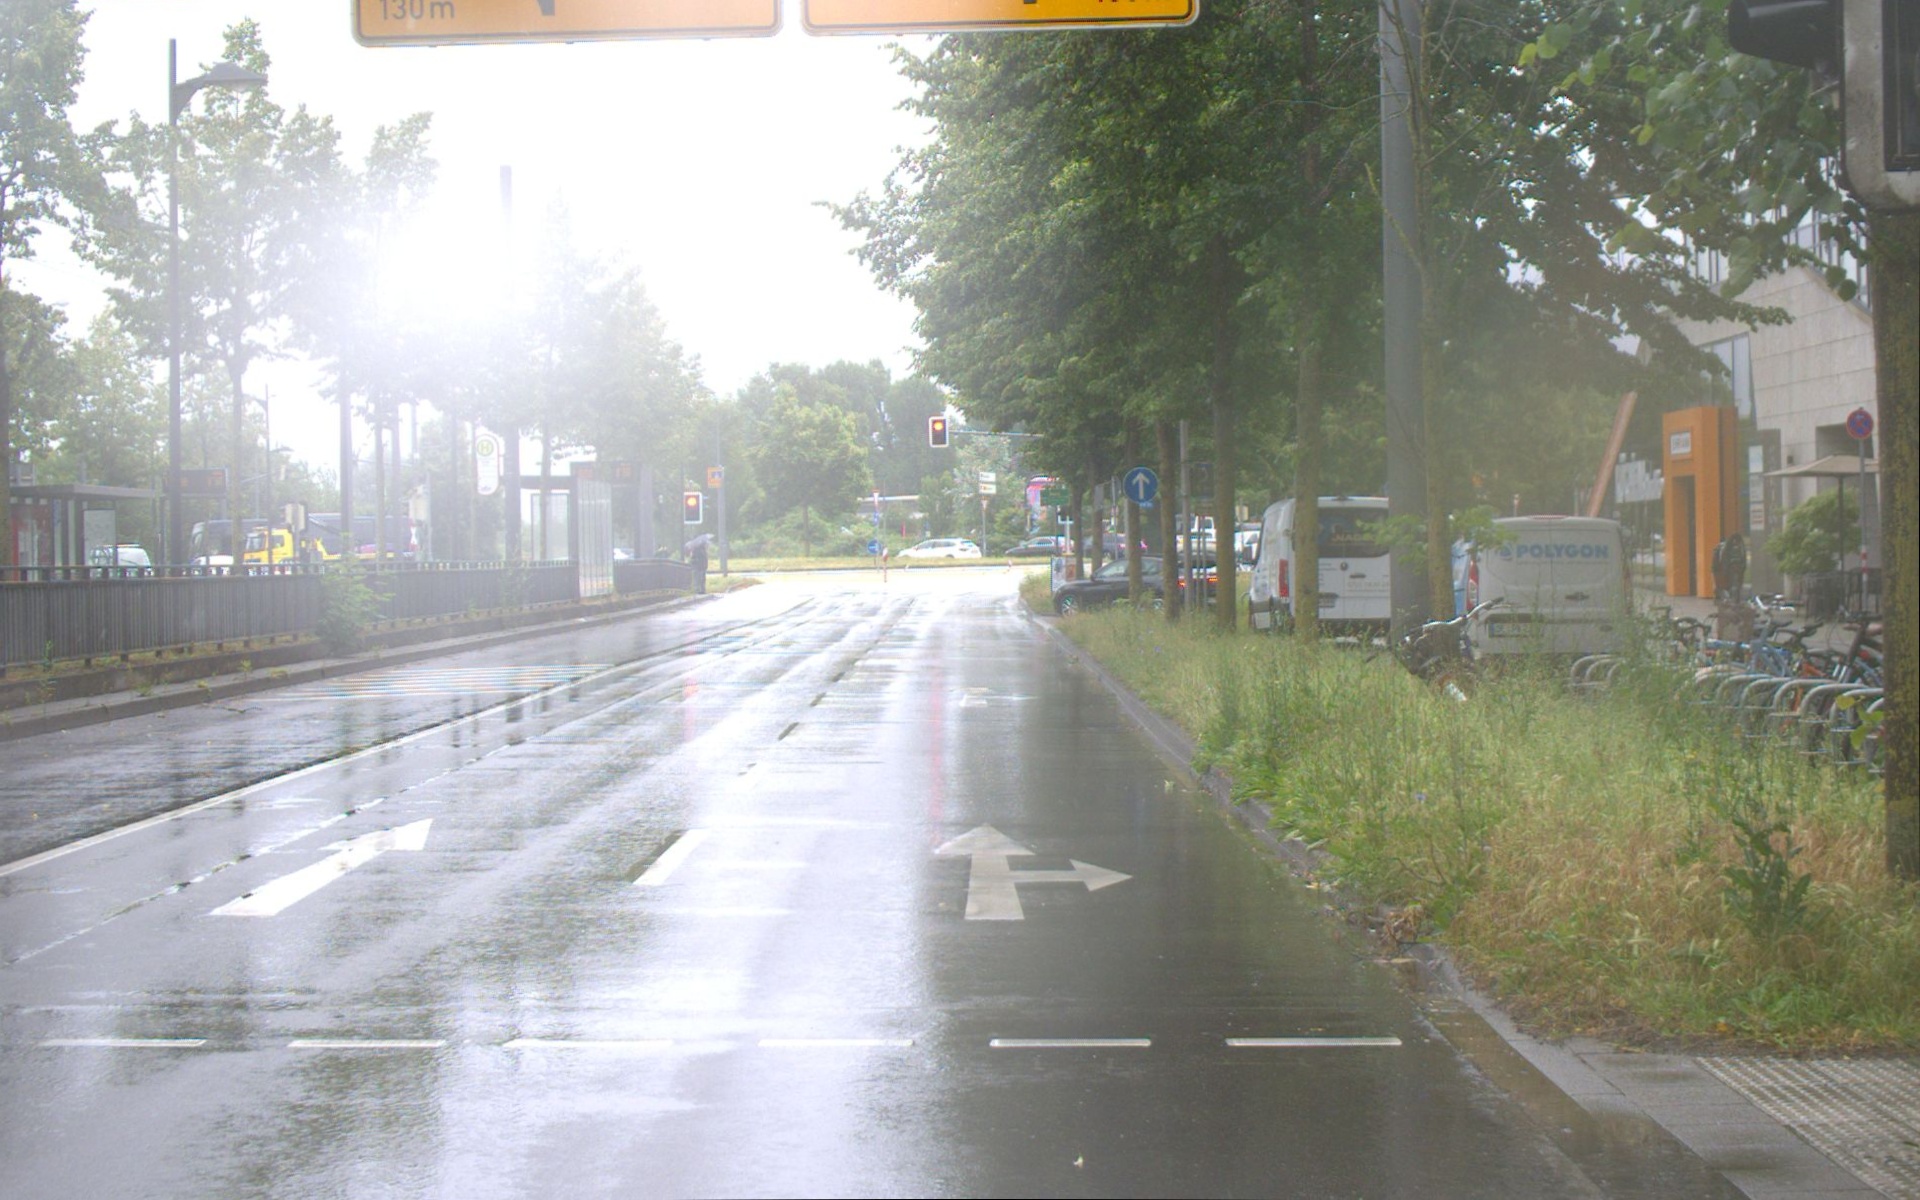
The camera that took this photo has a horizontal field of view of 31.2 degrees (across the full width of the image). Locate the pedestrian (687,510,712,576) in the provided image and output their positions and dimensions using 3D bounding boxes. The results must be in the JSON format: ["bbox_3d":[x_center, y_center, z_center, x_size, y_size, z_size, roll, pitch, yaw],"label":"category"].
[{"bbox_3d":[-8.014,-1.756,105.777,0.697,2.006,0.656,-1,3,0],"label":"pedestrian"}]

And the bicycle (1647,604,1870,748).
[{"bbox_3d":[4.899,0.466,21.107,1.288,0.846,0.275,-1,1,0],"label":"bicycle"}]

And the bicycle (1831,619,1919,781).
[{"bbox_3d":[5.466,0.529,18.249,1.615,0.846,0.275,0,0,0],"label":"bicycle"}]

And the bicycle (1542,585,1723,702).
[{"bbox_3d":[5.070,0.325,25.945,1.288,0.846,0.311,-1,1,0],"label":"bicycle"}]

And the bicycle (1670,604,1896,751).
[{"bbox_3d":[4.976,0.466,20.800,1.288,0.846,0.275,-1,1,0],"label":"bicycle"}]

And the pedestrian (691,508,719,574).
[{"bbox_3d":[-7.783,-1.802,104.905,0.698,2.006,0.655,-1,3,9],"label":"pedestrian"}]

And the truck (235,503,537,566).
[{"bbox_3d":[-29.151,-3.357,175.170,14.858,3.136,3.523,-1,1,-30],"label":"truck"}]

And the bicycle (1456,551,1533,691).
[{"bbox_3d":[3.367,0.121,21.697,0.274,0.846,1.293,-1,1,0],"label":"bicycle"}]

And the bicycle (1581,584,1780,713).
[{"bbox_3d":[4.929,0.329,23.531,1.288,0.846,0.275,-1,1,0],"label":"bicycle"}]

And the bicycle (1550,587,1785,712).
[{"bbox_3d":[5.042,0.348,24.526,1.595,0.846,0.311,-1,1,0],"label":"bicycle"}]

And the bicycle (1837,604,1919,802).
[{"bbox_3d":[5.423,0.534,17.943,1.615,1.019,0.275,0,0,0],"label":"bicycle"}]

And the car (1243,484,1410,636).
[{"bbox_3d":[5.730,-0.657,54.256,2.121,2.266,4.565,-1,1,0],"label":"car"}]

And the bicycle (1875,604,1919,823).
[{"bbox_3d":[5.324,0.533,16.798,1.612,1.050,0.297,-1,1,-2],"label":"bicycle"}]

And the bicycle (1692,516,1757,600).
[{"bbox_3d":[15.209,-0.854,68.455,0.666,1.529,2.765,-1,3,0],"label":"bicycle"}]

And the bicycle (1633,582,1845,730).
[{"bbox_3d":[5.021,0.356,22.184,1.288,0.915,0.275,-1,1,0],"label":"bicycle"}]

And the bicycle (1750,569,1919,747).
[{"bbox_3d":[5.397,0.322,19.709,1.643,0.985,0.320,-1,1,0],"label":"bicycle"}]

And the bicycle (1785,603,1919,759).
[{"bbox_3d":[5.371,0.442,18.878,1.615,0.846,0.275,0,0,0],"label":"bicycle"}]

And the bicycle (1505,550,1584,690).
[{"bbox_3d":[3.693,0.115,21.756,0.274,0.846,1.293,-1,1,0],"label":"bicycle"}]

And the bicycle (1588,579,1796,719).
[{"bbox_3d":[4.929,0.328,23.159,1.325,0.907,0.275,-1,1,0],"label":"bicycle"}]

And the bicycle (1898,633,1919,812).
[{"bbox_3d":[5.538,0.607,17.548,1.410,0.894,0.275,-1,1,-2],"label":"bicycle"}]

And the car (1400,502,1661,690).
[{"bbox_3d":[5.840,-0.092,35.707,1.906,1.785,4.688,-1,1,0],"label":"car"}]

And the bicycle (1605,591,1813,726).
[{"bbox_3d":[4.908,0.382,22.532,1.288,0.846,0.275,-1,1,0],"label":"bicycle"}]

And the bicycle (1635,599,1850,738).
[{"bbox_3d":[4.964,0.432,21.822,1.288,0.846,0.275,-1,1,0],"label":"bicycle"}]

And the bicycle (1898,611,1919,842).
[{"bbox_3d":[5.355,0.584,16.490,1.612,1.093,0.297,-1,1,-2],"label":"bicycle"}]

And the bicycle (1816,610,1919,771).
[{"bbox_3d":[5.316,0.478,18.603,1.288,0.846,0.275,-1,1,0],"label":"bicycle"}]

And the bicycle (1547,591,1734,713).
[{"bbox_3d":[4.929,0.375,24.902,1.288,0.846,0.275,-1,1,0],"label":"bicycle"}]

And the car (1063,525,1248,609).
[{"bbox_3d":[4.016,-0.710,71.216,1.815,1.539,4.000,-3,4,-32],"label":"car"}]

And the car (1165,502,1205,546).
[{"bbox_3d":[9.592,-3.259,146.664,1.623,1.694,3.456,-1,3,4],"label":"car"}]

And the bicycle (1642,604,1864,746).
[{"bbox_3d":[4.952,0.464,21.481,1.288,0.846,0.355,-1,1,0],"label":"bicycle"}]

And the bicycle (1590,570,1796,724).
[{"bbox_3d":[4.864,0.308,22.837,1.288,0.985,0.275,-1,1,0],"label":"bicycle"}]

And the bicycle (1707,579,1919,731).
[{"bbox_3d":[5.312,0.311,20.083,1.816,0.846,0.275,-1,1,0],"label":"bicycle"}]

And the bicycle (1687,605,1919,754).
[{"bbox_3d":[5.122,0.467,20.453,1.522,0.846,0.277,-1,1,0],"label":"bicycle"}]

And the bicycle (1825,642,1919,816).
[{"bbox_3d":[5.062,0.629,17.168,1.405,0.846,0.275,-1,1,-2],"label":"bicycle"}]
